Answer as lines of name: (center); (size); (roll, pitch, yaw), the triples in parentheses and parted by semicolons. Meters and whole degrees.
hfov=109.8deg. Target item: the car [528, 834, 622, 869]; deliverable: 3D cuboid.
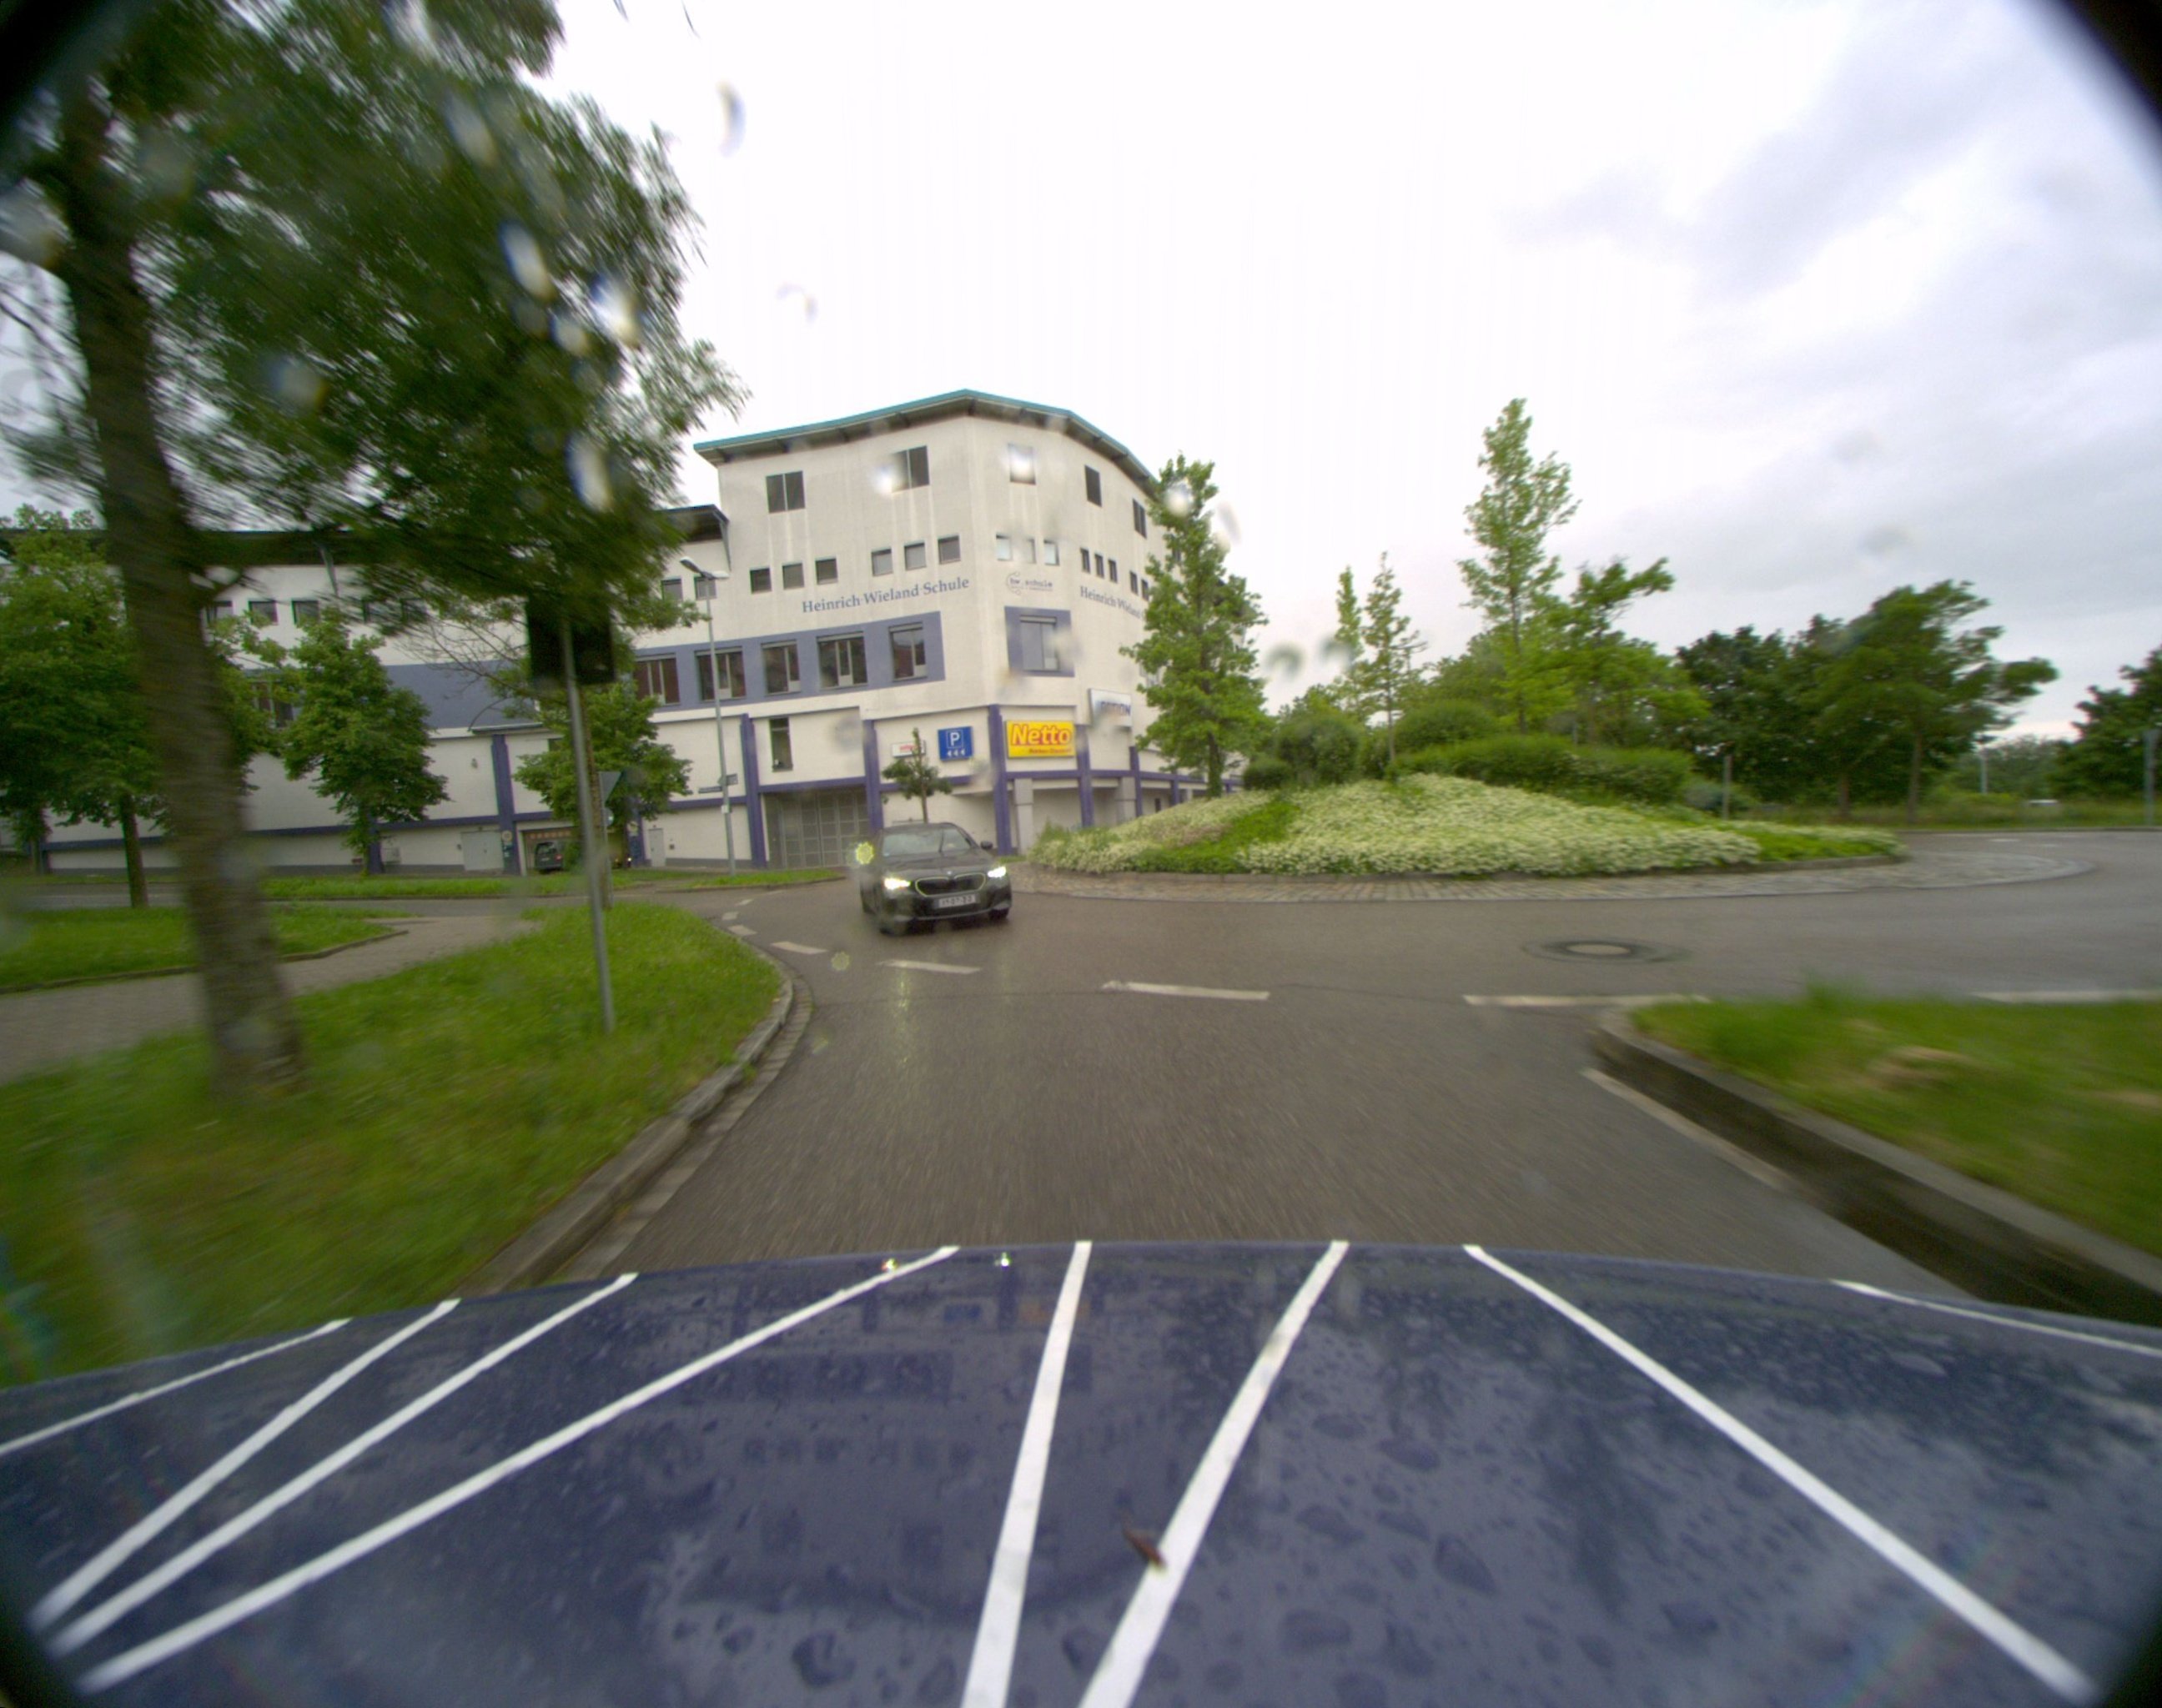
car: (-27.262, -0.157, 41.091); (1.920, 1.791, 3.794); (0, 2, 19)

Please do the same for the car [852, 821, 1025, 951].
car: (-2.501, 0.333, 12.154); (1.846, 1.487, 4.892); (-6, 3, -20)

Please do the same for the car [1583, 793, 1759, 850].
car: (21.440, -1.193, 27.951); (2.000, 1.785, 5.104); (-4, 3, -9)
